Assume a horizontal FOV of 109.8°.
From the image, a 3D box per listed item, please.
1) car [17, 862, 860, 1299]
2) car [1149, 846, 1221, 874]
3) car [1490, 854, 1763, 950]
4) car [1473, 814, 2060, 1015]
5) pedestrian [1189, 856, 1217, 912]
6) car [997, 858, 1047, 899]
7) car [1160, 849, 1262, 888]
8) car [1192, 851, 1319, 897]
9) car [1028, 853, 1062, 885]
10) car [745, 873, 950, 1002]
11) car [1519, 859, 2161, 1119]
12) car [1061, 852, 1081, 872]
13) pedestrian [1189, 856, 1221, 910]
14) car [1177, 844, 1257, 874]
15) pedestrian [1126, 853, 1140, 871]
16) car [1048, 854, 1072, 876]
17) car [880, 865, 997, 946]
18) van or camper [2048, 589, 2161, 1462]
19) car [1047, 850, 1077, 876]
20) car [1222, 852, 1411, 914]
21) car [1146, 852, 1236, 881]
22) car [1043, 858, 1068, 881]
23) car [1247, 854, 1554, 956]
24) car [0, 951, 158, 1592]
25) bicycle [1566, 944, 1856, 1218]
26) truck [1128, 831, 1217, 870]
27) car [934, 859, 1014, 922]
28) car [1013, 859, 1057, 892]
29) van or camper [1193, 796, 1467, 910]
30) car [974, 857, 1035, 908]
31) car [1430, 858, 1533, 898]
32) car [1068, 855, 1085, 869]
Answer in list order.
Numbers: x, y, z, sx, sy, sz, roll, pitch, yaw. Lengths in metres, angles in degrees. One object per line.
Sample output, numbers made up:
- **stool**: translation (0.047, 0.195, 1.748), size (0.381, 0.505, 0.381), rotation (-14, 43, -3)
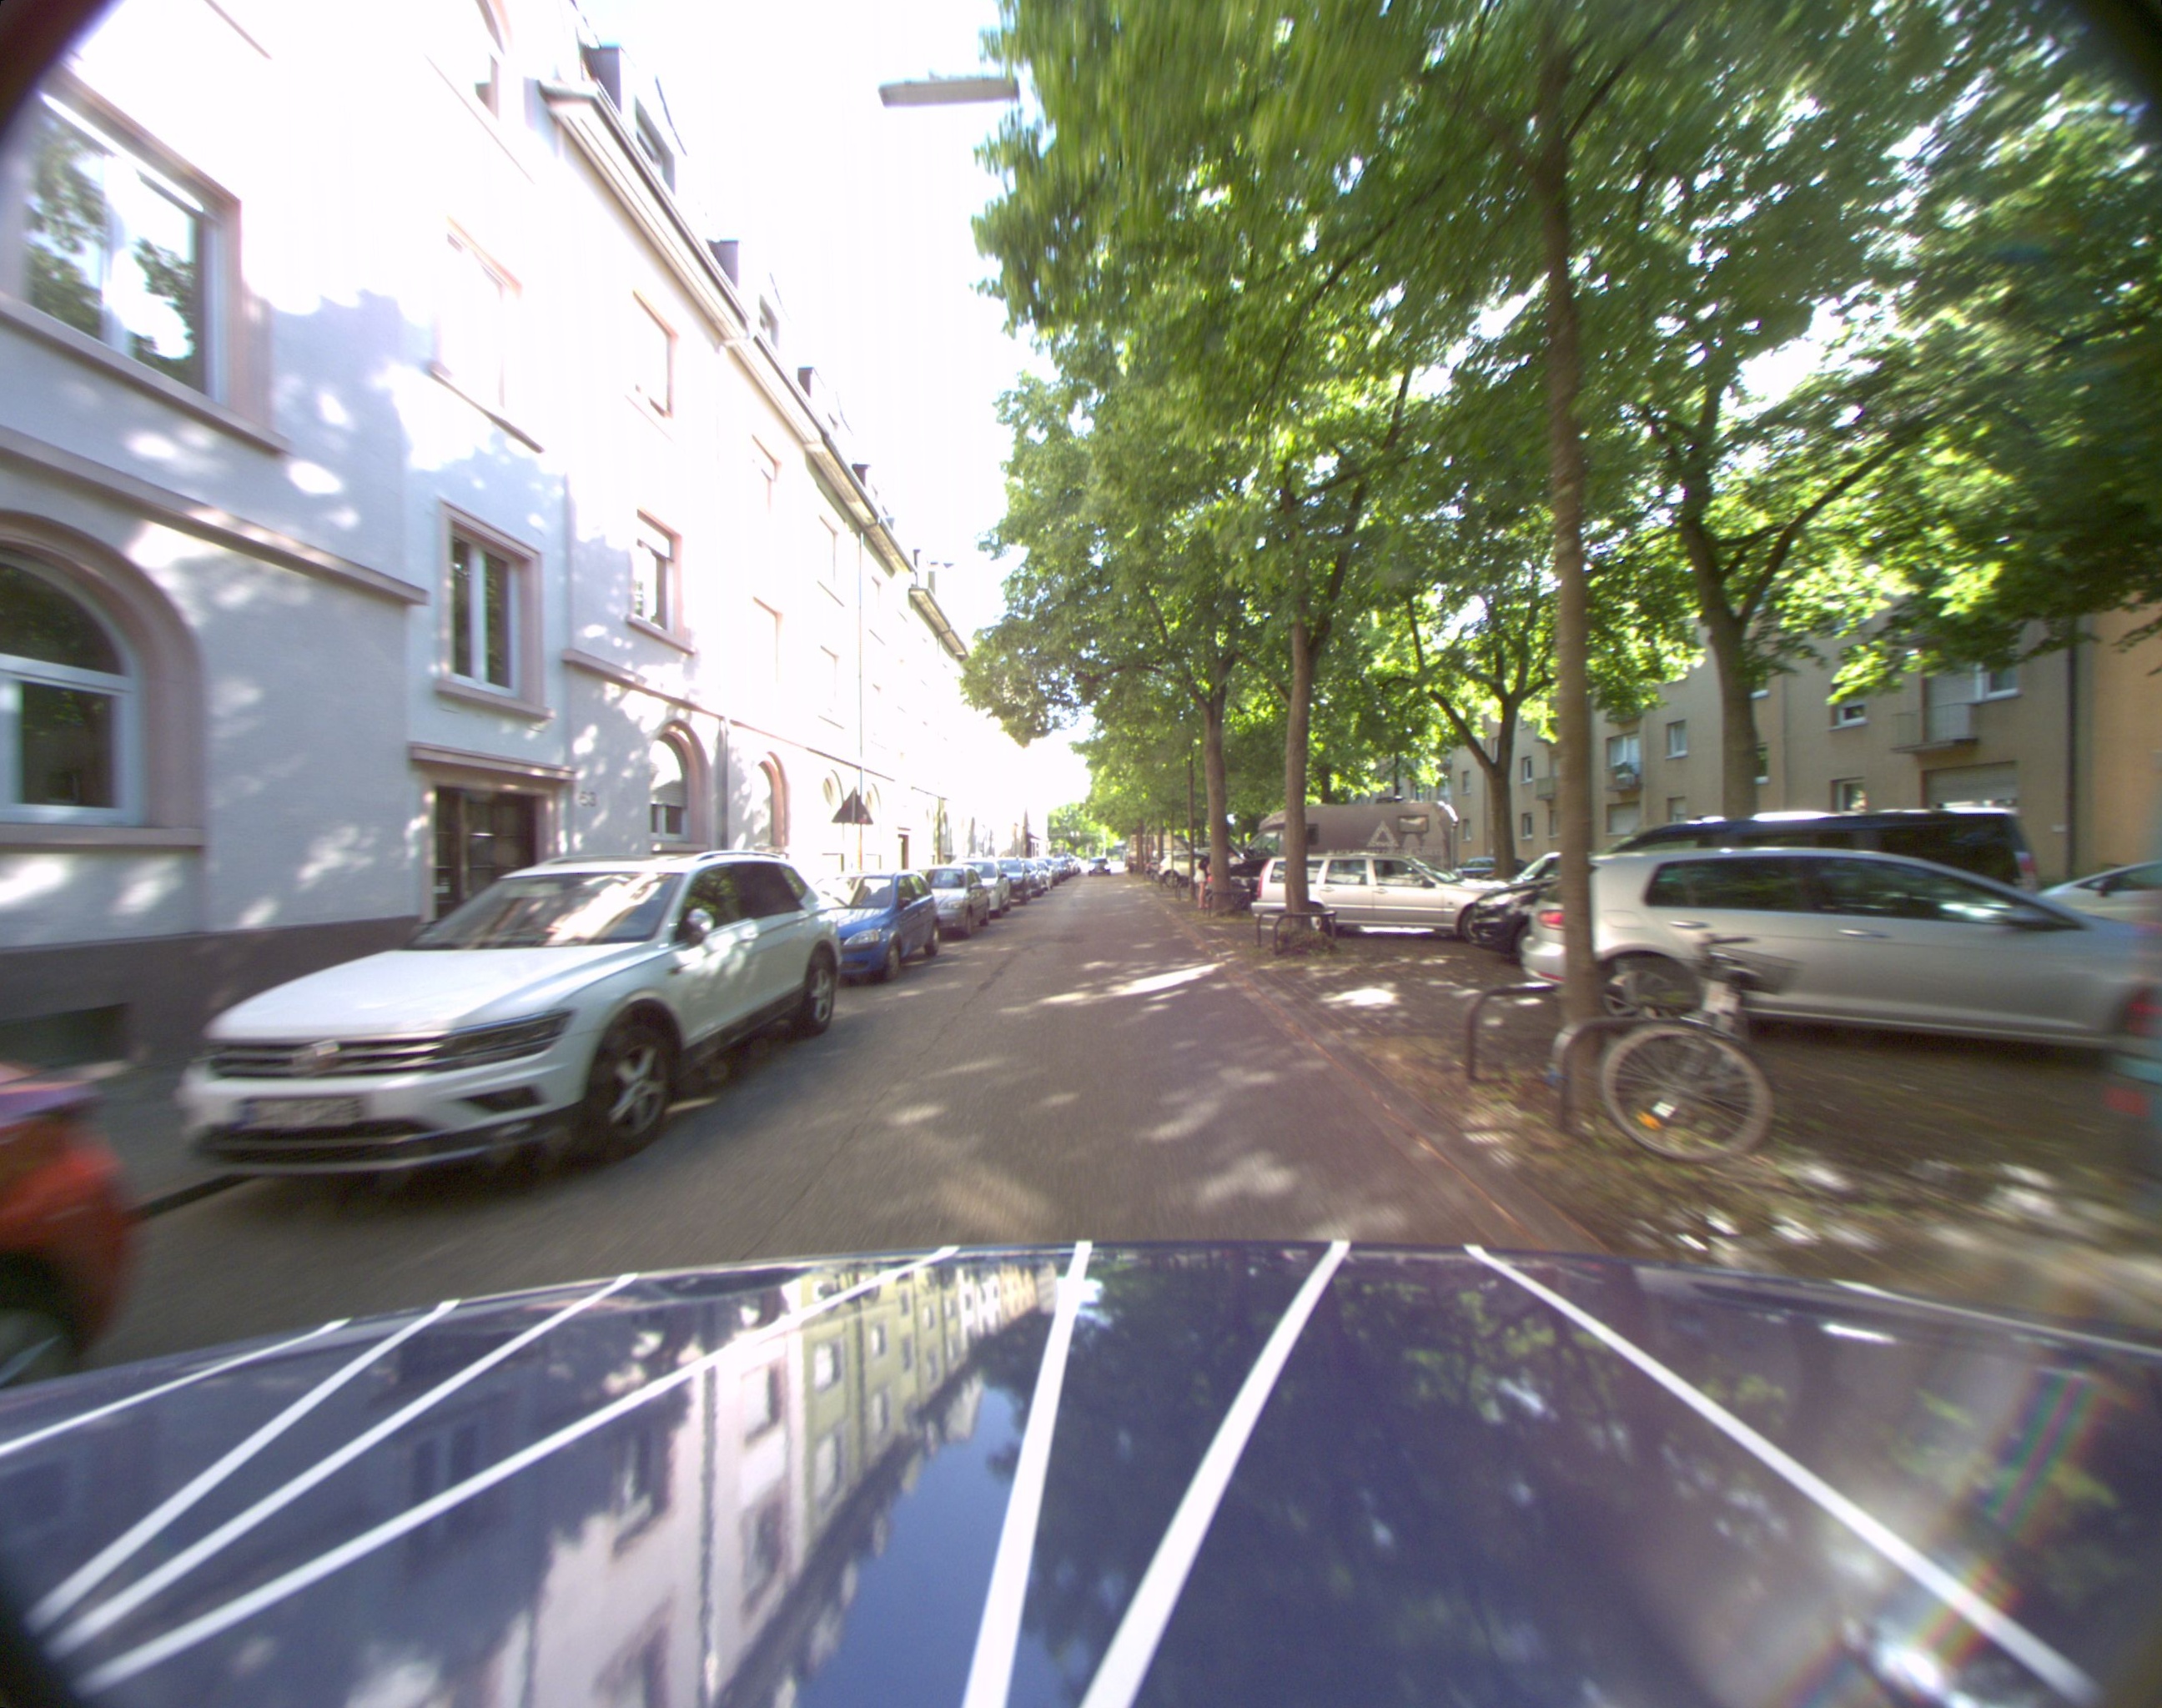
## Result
- **car**: translation (-3.226, 0.925, 5.336), size (1.821, 1.664, 4.674), rotation (-1, 0, 2)
- **car**: translation (7.286, 0.400, 53.209), size (4.512, 1.854, 2.085), rotation (-1, 0, 27)
- **car**: translation (9.007, 0.736, 12.884), size (3.564, 1.416, 1.678), rotation (-1, 0, 31)
- **car**: translation (7.078, 0.545, 8.591), size (4.548, 1.754, 1.814), rotation (-1, 0, 32)
- **pedestrian**: translation (3.244, 0.785, 20.227), size (0.615, 1.447, 0.520), rotation (0, 1, 25)
- **car**: translation (-2.335, 0.937, 31.115), size (1.727, 1.519, 4.158), rotation (-1, 0, 0)
- **car**: translation (5.820, 0.620, 34.131), size (4.136, 1.669, 1.762), rotation (-1, 0, 31)
- **car**: translation (6.126, 0.669, 26.733), size (3.989, 1.498, 1.761), rotation (0, 0, 31)
- **car**: translation (-1.995, 0.808, 43.198), size (1.727, 1.676, 4.157), rotation (-1, 0, -1)
- **car**: translation (-3.074, 1.032, 10.841), size (1.621, 1.404, 3.788), rotation (-1, 0, 2)
- **car**: translation (5.540, 0.782, 5.646), size (3.945, 1.435, 1.850), rotation (-1, 0, 30)
- **car**: translation (-0.894, 0.712, 70.318), size (1.766, 1.743, 4.510), rotation (-1, 0, 0)
- **pedestrian**: translation (3.417, 0.777, 20.914), size (0.710, 1.447, 0.597), rotation (0, 1, 25)
- **car**: translation (8.691, 0.308, 48.626), size (4.593, 1.821, 2.022), rotation (0, 1, 31)
- **pedestrian**: translation (4.057, 0.632, 59.573), size (0.751, 1.388, 0.930), rotation (0, 0, 33)
- **car**: translation (-1.473, 0.789, 53.988), size (1.626, 1.489, 3.595), rotation (-1, 0, 0)
- **car**: translation (-2.843, 0.981, 15.961), size (1.635, 1.404, 4.089), rotation (-1, 0, 0)
- **van or camper**: translation (4.973, 0.433, 0.140), size (5.502, 2.262, 2.224), rotation (0, 0, 26)
- **car**: translation (-1.431, 0.657, 59.346), size (1.953, 1.889, 4.846), rotation (-1, 0, 2)
- **car**: translation (5.921, 0.688, 19.235), size (4.318, 1.416, 1.678), rotation (-1, 0, 29)
- **car**: translation (5.877, 0.653, 40.753), size (4.411, 1.453, 1.719), rotation (-1, 1, 34)
- **car**: translation (-1.667, 0.957, 49.272), size (1.553, 1.386, 3.860), rotation (-1, 0, -2)
- **car**: translation (5.258, 0.747, 12.762), size (4.476, 1.435, 1.736), rotation (-1, 0, 34)
- **car**: translation (-3.456, 1.043, 0.138), size (1.795, 1.515, 3.963), rotation (-1, 0, -3)
- **bicycle**: translation (3.221, 1.038, 3.844), size (1.727, 1.000, 0.510), rotation (-1, 1, -28)
- **truck**: translation (7.873, -0.285, 66.138), size (7.304, 3.274, 2.552), rotation (0, 0, 33)
- **car**: translation (-2.812, 0.925, 20.713), size (1.635, 1.525, 3.592), rotation (-1, 0, 0)
- **car**: translation (-2.179, 0.991, 36.721), size (1.726, 1.424, 4.158), rotation (-1, 0, 2)
- **van or camper**: translation (7.082, -0.011, 22.021), size (7.230, 2.912, 2.318), rotation (0, 0, 29)
- **car**: translation (-2.525, 0.898, 25.948), size (1.727, 1.587, 4.157), rotation (-1, 0, -1)
- **car**: translation (16.395, 0.932, 31.380), size (1.998, 1.499, 4.533), rotation (0, 0, 2)
- **car**: translation (-0.481, 0.898, 86.843), size (1.723, 1.488, 4.024), rotation (-1, 0, 3)
